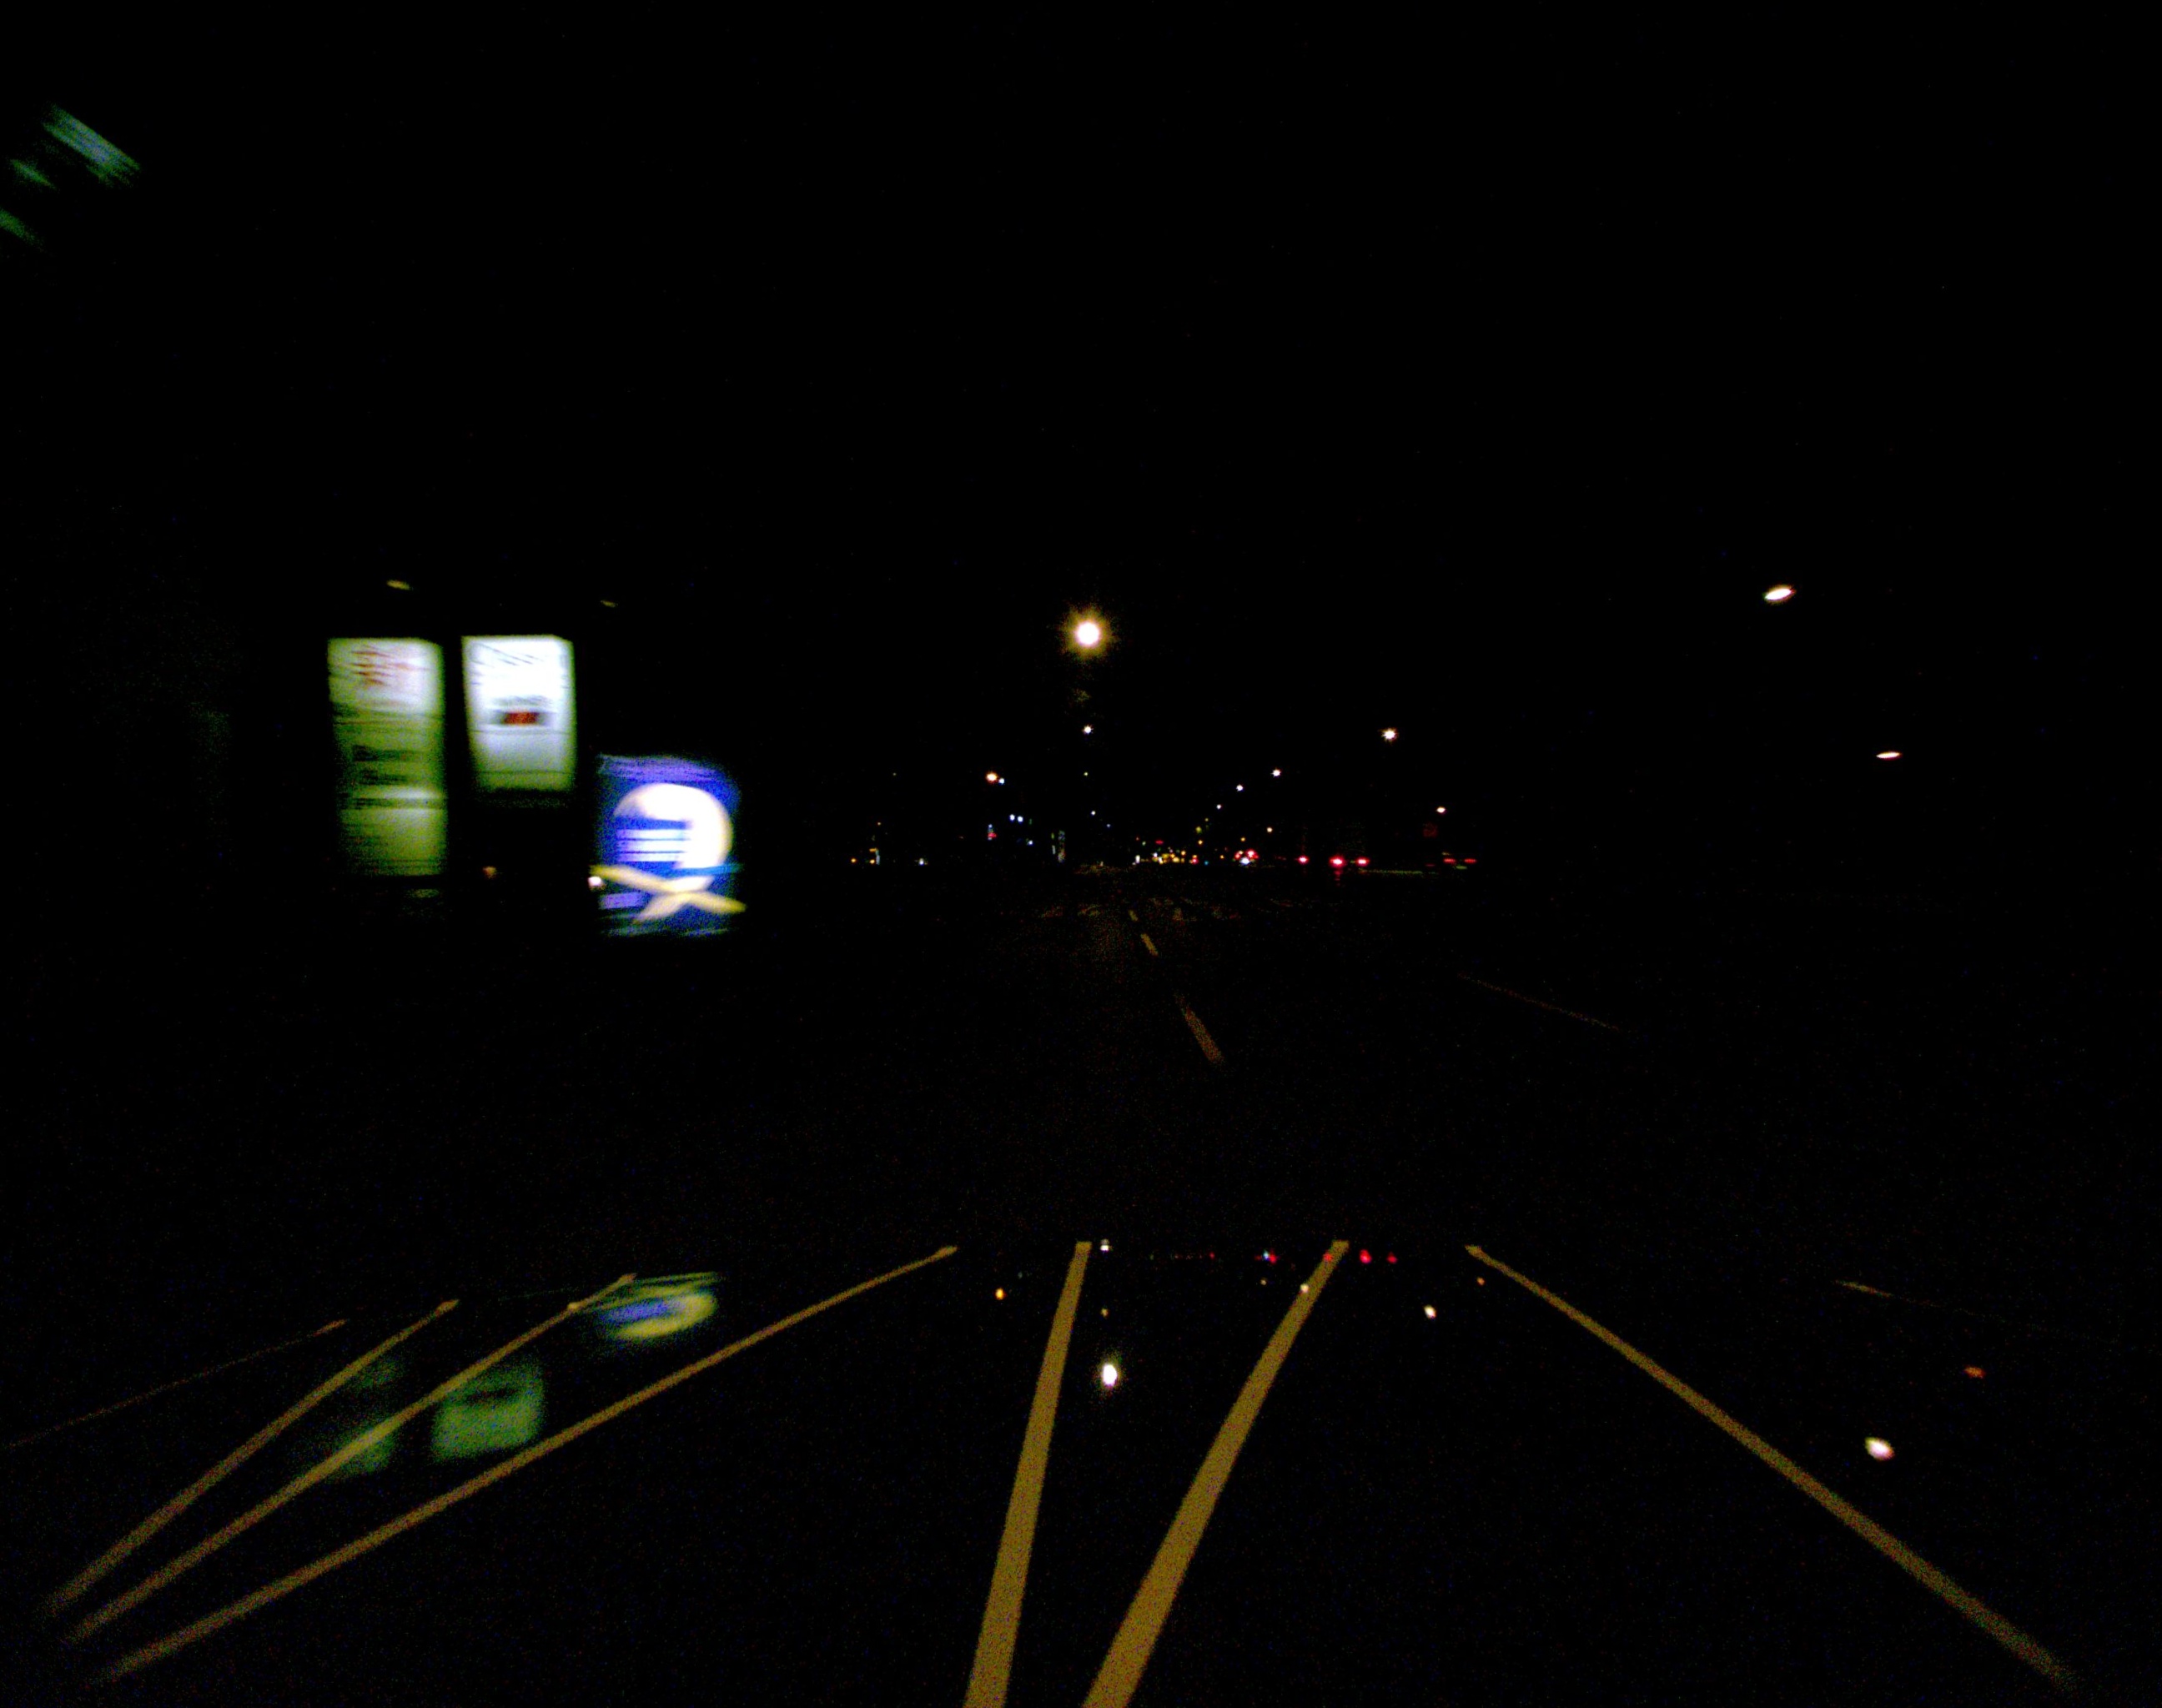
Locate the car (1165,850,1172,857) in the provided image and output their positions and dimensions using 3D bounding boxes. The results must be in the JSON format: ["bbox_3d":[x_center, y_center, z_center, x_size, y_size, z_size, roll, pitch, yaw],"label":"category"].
[{"bbox_3d":[23.884,-0.080,206.677,1.794,1.896,4.001,-2,1,5],"label":"car"}]

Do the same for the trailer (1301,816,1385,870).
[{"bbox_3d":[21.149,-0.883,62.012,3.705,3.967,8.393,-2,1,-1],"label":"trailer"}]

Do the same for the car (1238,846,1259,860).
[{"bbox_3d":[20.806,-0.117,94.529,1.730,1.616,3.961,-2,1,1],"label":"car"}]

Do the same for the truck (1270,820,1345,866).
[{"bbox_3d":[21.051,-1.028,71.497,3.691,3.932,10.418,-2,1,-1],"label":"truck"}]

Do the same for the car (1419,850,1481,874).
[{"bbox_3d":[24.026,0.481,49.614,1.991,1.472,4.203,0,0,-1],"label":"car"}]

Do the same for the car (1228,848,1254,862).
[{"bbox_3d":[17.755,0.111,84.498,1.809,1.490,4.084,-1,1,-2],"label":"car"}]
